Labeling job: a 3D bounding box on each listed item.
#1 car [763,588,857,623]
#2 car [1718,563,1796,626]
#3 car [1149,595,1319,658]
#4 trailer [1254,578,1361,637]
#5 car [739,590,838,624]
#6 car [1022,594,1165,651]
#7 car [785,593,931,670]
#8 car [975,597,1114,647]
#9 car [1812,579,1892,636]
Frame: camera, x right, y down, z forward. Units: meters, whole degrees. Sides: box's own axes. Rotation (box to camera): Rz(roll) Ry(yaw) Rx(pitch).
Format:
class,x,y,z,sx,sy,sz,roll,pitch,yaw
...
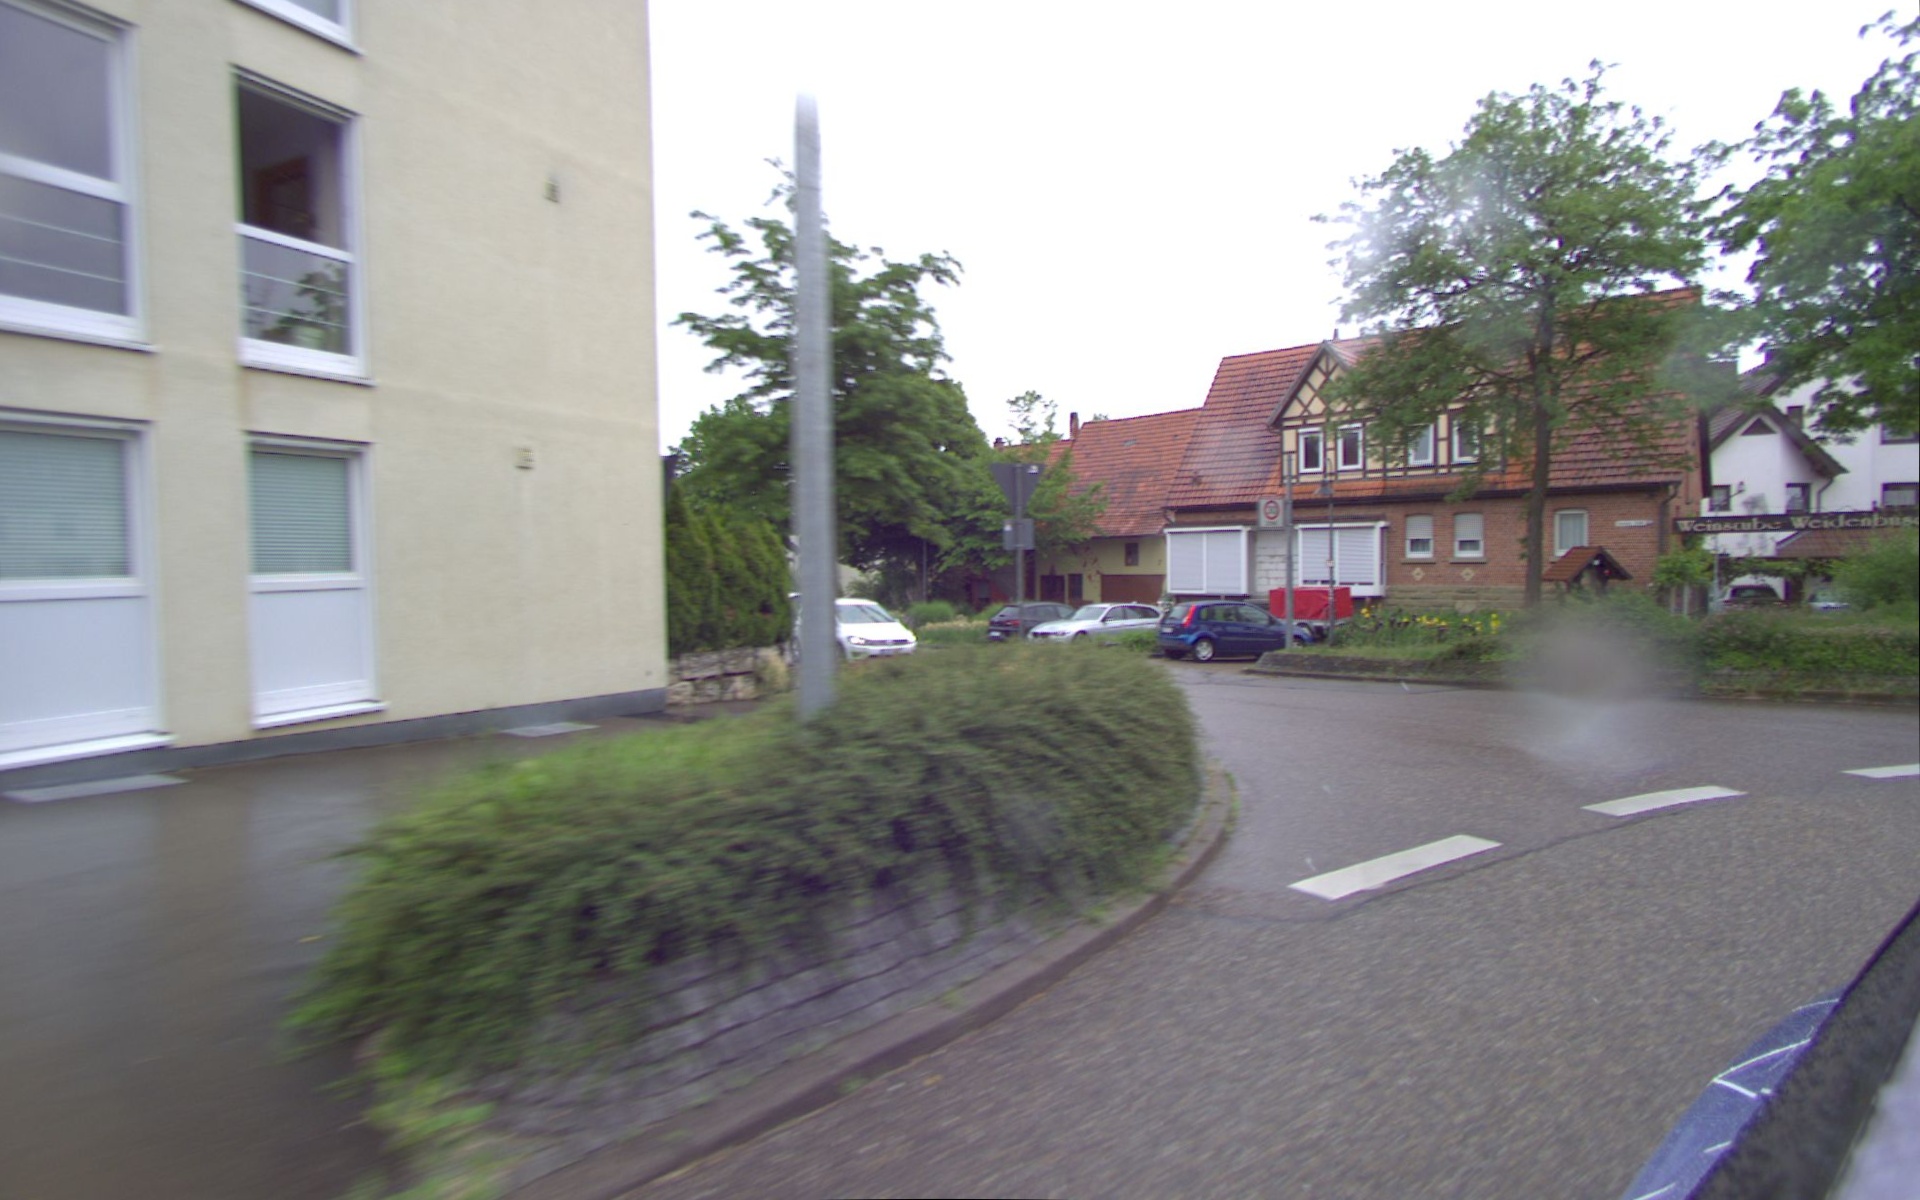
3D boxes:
class,x,y,z,sx,sy,sz,roll,pitch,yaw
car,-7.020,0.204,47.292,3.919,1.571,2.003,0,1,-28
car,27.371,-0.224,34.856,1.586,2.039,3.957,0,1,31
car,6.669,0.610,24.726,3.656,1.407,1.627,-1,1,-12
trailer,10.355,0.190,30.248,1.388,1.670,2.719,0,1,-43
car,-8.383,0.307,49.471,4.392,1.571,2.003,0,1,-28
car,3.781,0.575,28.319,3.925,1.407,1.623,-1,1,-35
car,-2.462,0.652,23.414,1.723,1.555,4.153,-1,1,-31
car,2.584,0.631,30.736,3.923,1.393,1.881,0,1,-34
car,25.221,0.181,28.678,1.595,1.515,3.941,0,0,41
